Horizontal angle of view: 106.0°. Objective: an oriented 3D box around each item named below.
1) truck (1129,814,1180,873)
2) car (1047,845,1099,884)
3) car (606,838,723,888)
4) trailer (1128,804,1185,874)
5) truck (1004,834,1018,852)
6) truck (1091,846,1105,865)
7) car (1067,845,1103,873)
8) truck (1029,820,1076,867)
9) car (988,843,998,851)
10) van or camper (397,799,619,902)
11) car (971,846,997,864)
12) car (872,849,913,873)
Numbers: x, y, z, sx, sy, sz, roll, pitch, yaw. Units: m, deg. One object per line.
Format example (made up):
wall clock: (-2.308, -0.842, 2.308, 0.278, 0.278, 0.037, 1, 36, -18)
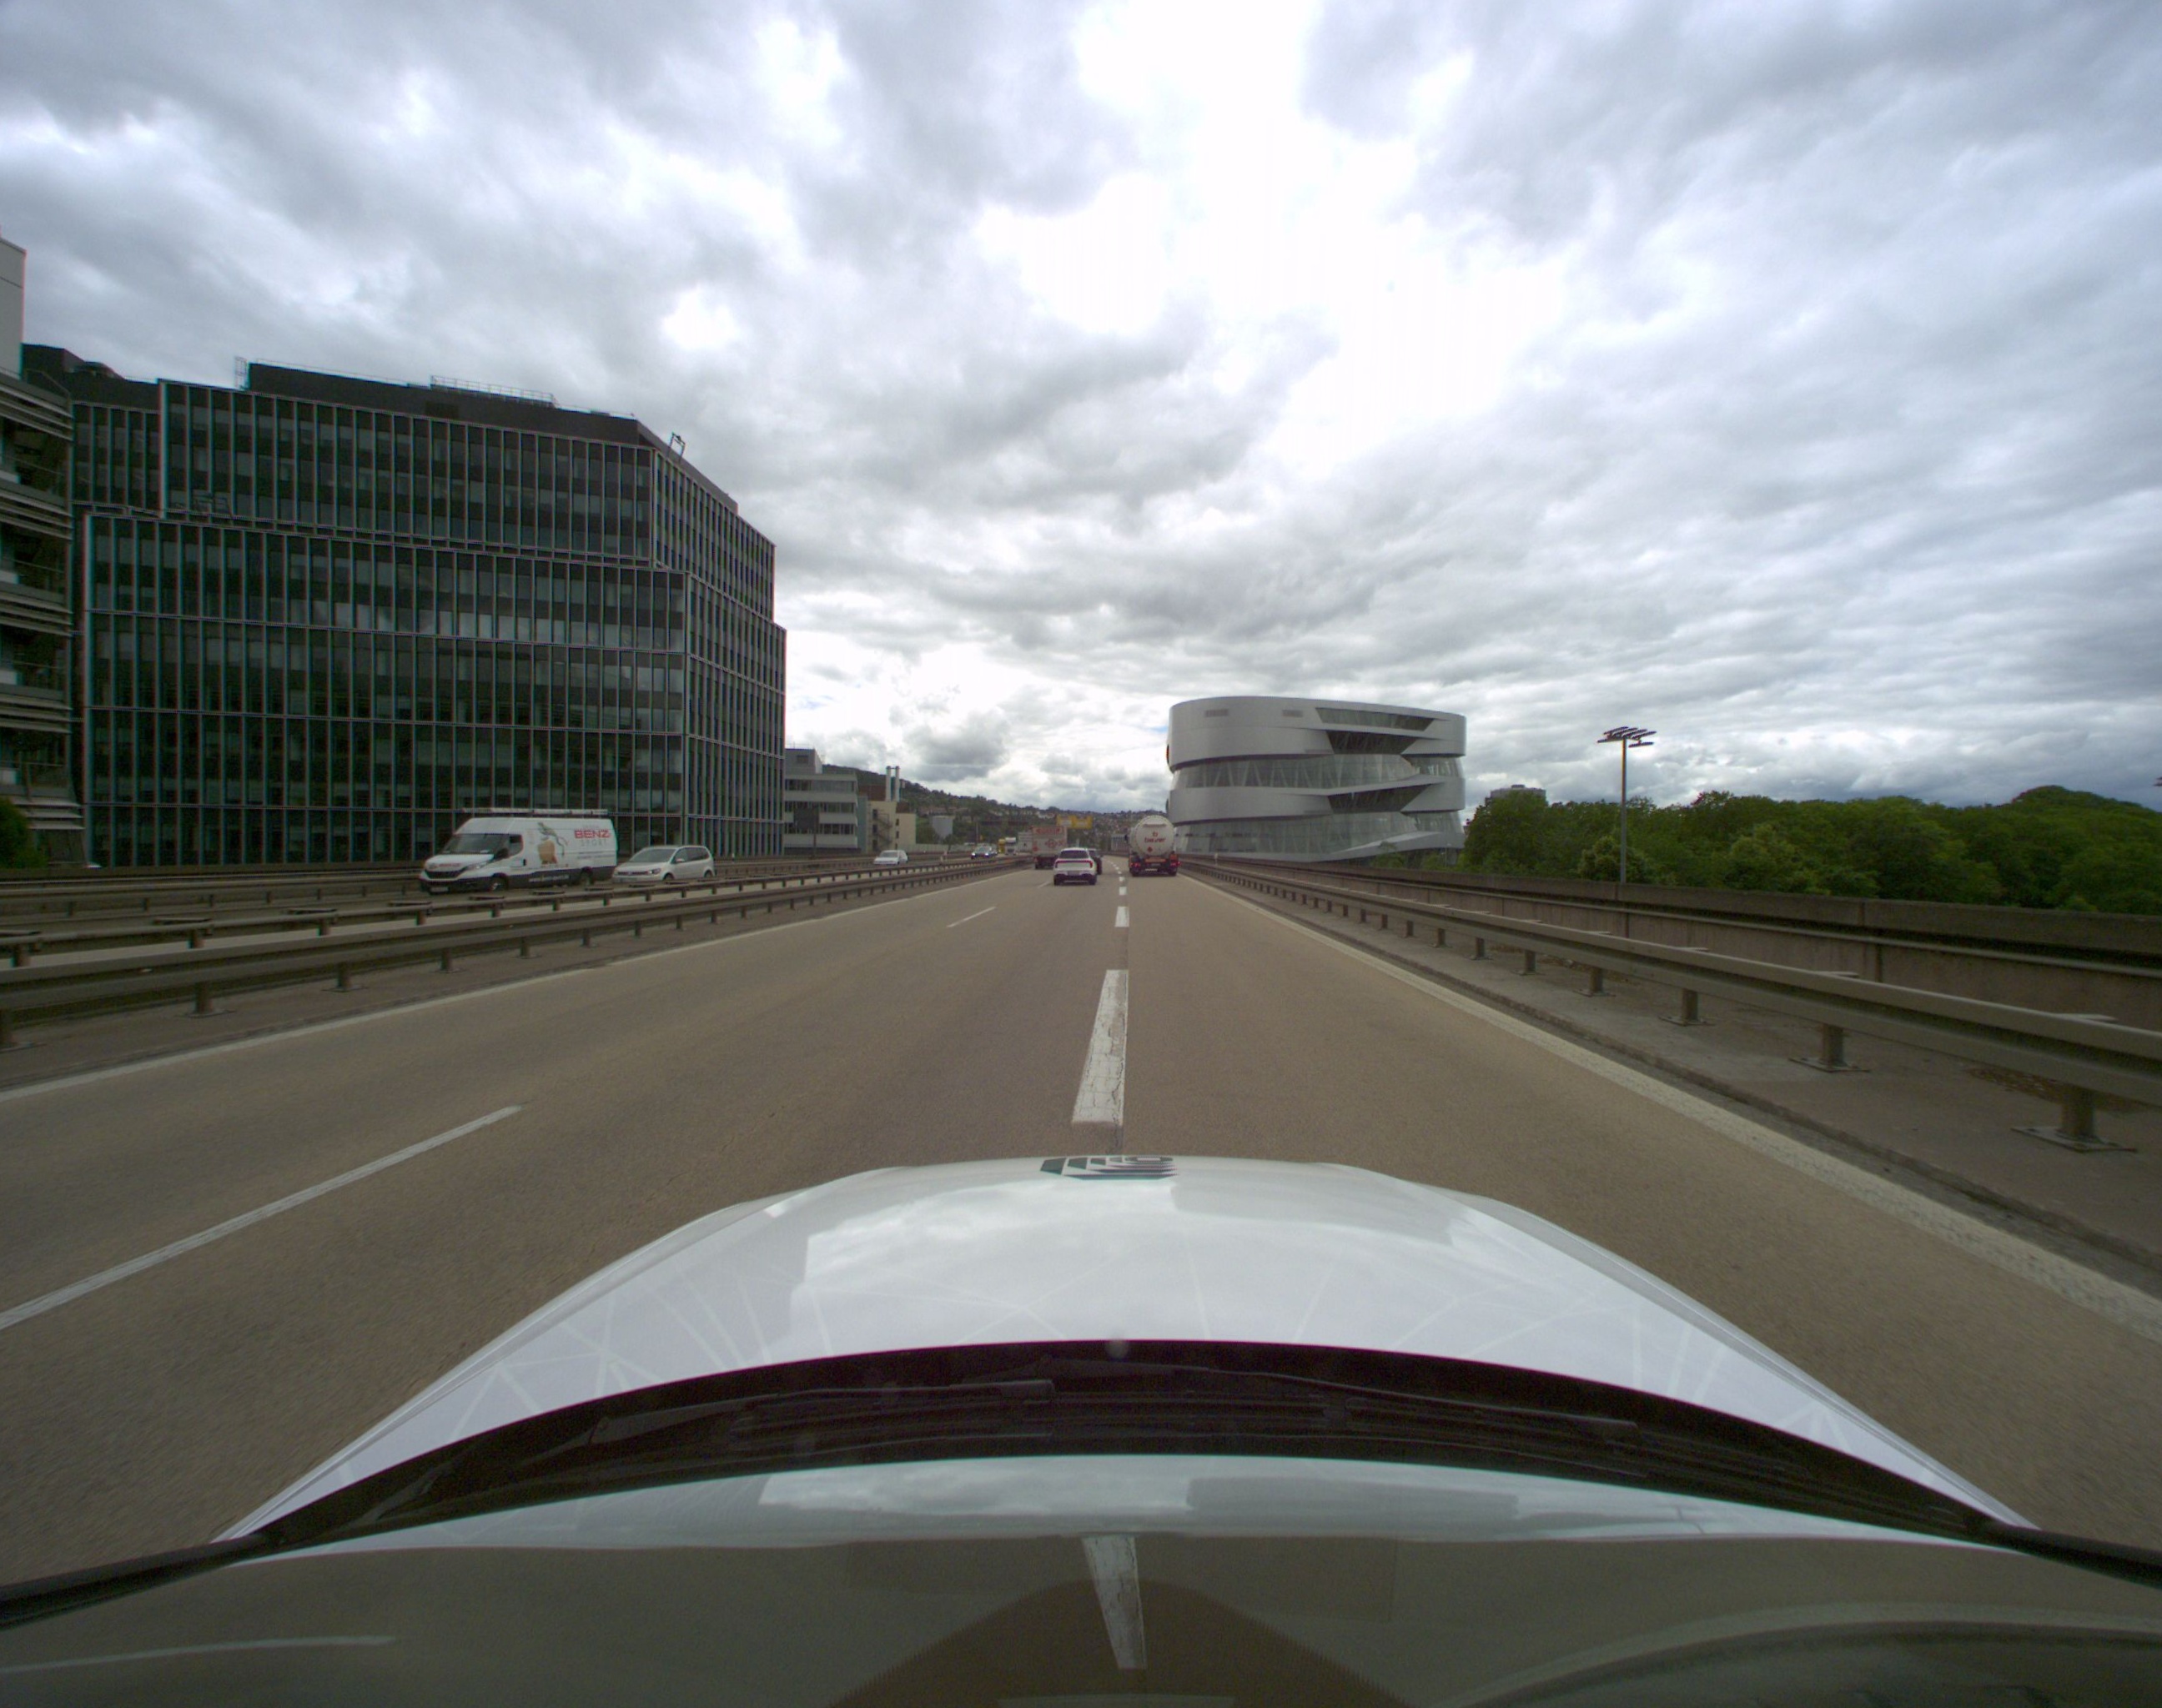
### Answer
truck: (4.817, -0.654, 54.524, 3.003, 3.657, 6.276, -1, 0, 2)
car: (-0.306, 0.464, 37.887, 1.984, 1.675, 4.413, -1, 0, 4)
car: (-14.666, 0.299, 28.977, 1.675, 1.650, 4.317, 0, 0, 4)
trailer: (4.443, -0.816, 48.473, 3.043, 3.790, 8.313, -1, 0, 4)
truck: (-16.114, -2.555, 188.385, 2.764, 4.079, 5.643, -1, 0, -1)
truck: (4.093, 0.297, 201.285, 3.048, 4.562, 8.299, -1, 0, -1)
car: (0.311, 0.302, 52.334, 1.984, 1.675, 4.413, -1, 0, 4)
truck: (-2.270, -0.857, 68.880, 3.043, 3.690, 8.313, -1, 0, 4)
car: (-18.991, -1.428, 175.677, 1.678, 1.650, 4.358, 0, 0, -1)
van or camper: (-18.880, -0.122, 27.516, 2.162, 3.008, 7.123, -1, 0, 3)
car: (-9.655, 0.106, 81.108, 1.755, 1.650, 4.339, 2, 0, 3)
car: (-13.582, 0.520, 58.887, 1.675, 1.650, 4.453, 0, 0, 4)
